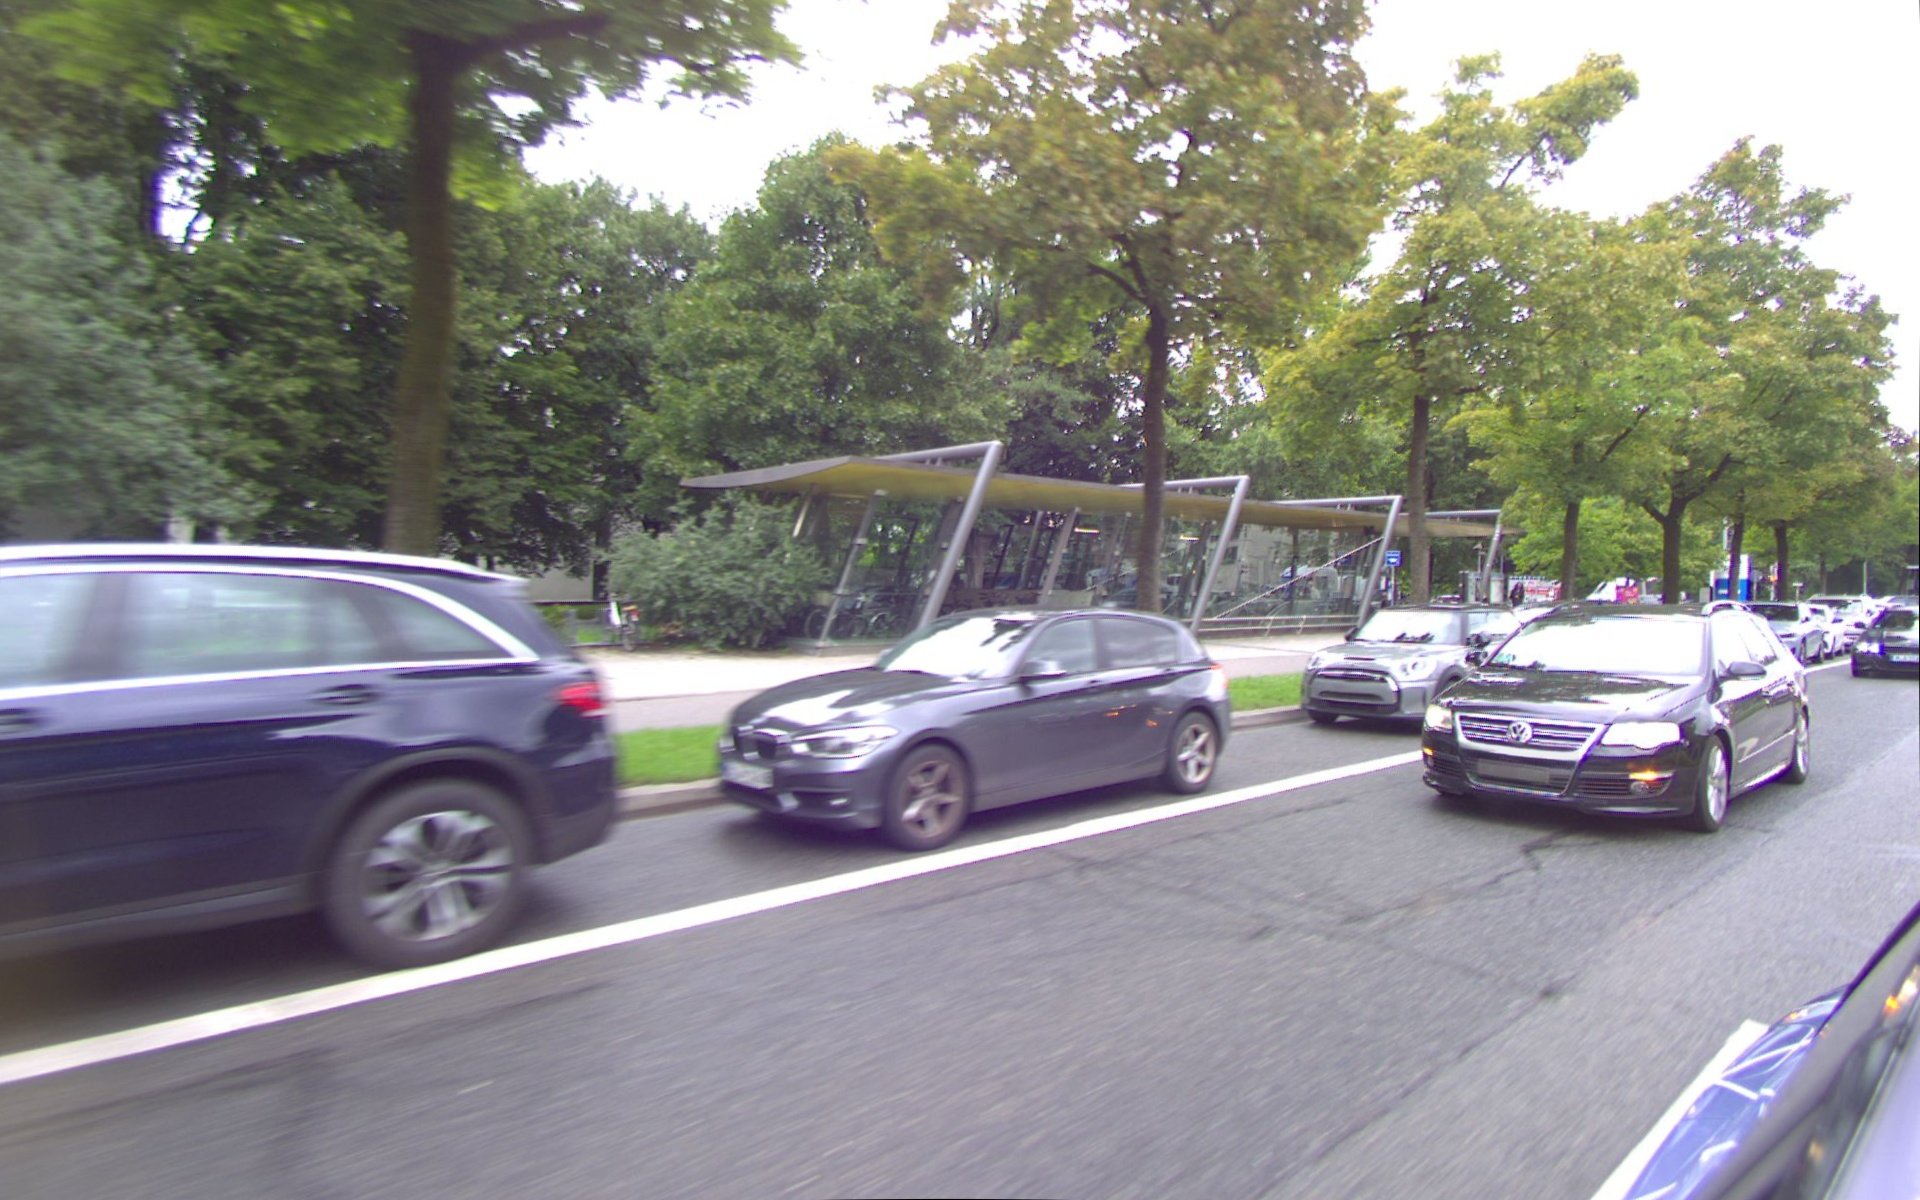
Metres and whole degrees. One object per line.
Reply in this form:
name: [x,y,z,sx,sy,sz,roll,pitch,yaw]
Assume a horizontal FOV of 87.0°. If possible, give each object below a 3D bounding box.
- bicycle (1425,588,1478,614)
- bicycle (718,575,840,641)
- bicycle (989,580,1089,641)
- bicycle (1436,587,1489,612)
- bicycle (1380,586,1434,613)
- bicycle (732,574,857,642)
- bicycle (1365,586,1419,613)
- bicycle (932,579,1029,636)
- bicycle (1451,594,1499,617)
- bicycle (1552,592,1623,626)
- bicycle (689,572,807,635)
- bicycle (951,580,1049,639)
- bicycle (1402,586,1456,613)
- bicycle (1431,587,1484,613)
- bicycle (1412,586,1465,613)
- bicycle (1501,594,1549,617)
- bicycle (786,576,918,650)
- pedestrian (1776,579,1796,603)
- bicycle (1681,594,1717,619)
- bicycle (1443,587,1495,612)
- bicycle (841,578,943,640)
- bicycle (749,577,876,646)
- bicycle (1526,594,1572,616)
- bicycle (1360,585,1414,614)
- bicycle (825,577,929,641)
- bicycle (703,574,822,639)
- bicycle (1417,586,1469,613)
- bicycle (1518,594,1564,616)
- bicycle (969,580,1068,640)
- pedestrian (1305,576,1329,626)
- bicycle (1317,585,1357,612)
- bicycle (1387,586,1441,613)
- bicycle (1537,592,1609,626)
bicycle: [24.855,0.045,51.245,0.520,1.171,2.344,1,3,-40]
bicycle: [-3.716,0.139,20.946,2.506,1.296,0.646,0,1,-41]
bicycle: [1.782,0.211,22.477,2.506,1.296,0.646,0,1,-41]
bicycle: [25.772,-0.038,51.951,0.520,1.171,2.344,1,3,-40]
bicycle: [21.487,-0.034,48.685,0.520,1.171,2.344,1,3,-40]
bicycle: [-3.304,0.150,20.419,2.506,1.296,0.646,0,1,-41]
bicycle: [20.583,-0.034,48.230,0.520,1.171,2.344,1,3,-40]
bicycle: [0.519,0.158,24.040,2.506,1.296,0.646,0,1,-41]
bicycle: [27.166,0.271,53.418,2.092,1.168,0.717,1,1,7]
bicycle: [25.128,0.349,40.558,2.338,1.171,0.521,5,3,42]
bicycle: [-4.559,0.065,21.900,2.506,1.296,0.605,0,1,-41]
bicycle: [0.962,0.201,23.524,2.506,1.296,0.646,0,1,-41]
bicycle: [23.012,-0.014,49.665,0.520,1.171,2.344,1,3,-40]
bicycle: [25.327,-0.024,51.577,0.520,1.171,2.344,1,3,-40]
bicycle: [23.781,-0.036,50.364,0.520,1.171,2.344,1,3,-40]
bicycle: [29.859,0.278,53.517,2.091,1.168,0.718,1,1,5]
bicycle: [-1.975,0.226,18.832,2.506,1.296,0.646,0,1,-41]
pedestrian: [53.758,-0.608,65.876,0.722,1.558,0.694,0,1,-21]
bicycle: [36.521,0.315,50.018,1.962,1.213,0.864,0,3,-37]
bicycle: [26.258,-0.038,52.278,0.520,1.171,2.344,1,3,-40]
bicycle: [-1.533,0.173,22.417,2.534,1.296,0.486,2,1,36]
bicycle: [-2.865,0.204,19.910,2.506,1.296,0.646,0,1,-41]
bicycle: [32.273,0.275,55.486,2.088,1.168,0.718,1,1,0]
bicycle: [20.145,-0.033,47.779,0.520,1.171,2.344,1,3,-40]
bicycle: [-1.837,0.167,21.988,2.534,1.296,0.486,2,1,36]
bicycle: [-4.145,0.116,21.431,2.506,1.296,0.605,0,1,-41]
bicycle: [24.270,-0.037,50.888,0.520,1.171,2.344,1,3,-40]
bicycle: [32.298,0.273,56.292,2.088,1.168,0.718,1,1,0]
bicycle: [1.354,0.207,22.994,2.506,1.296,0.646,0,1,-41]
pedestrian: [11.022,0.025,31.220,0.575,1.532,0.687,1,0,31]
bicycle: [17.172,-0.058,46.099,2.303,1.171,0.529,1,3,-38]
bicycle: [21.969,-0.034,49.017,0.520,1.171,2.344,1,3,-40]
bicycle: [24.297,0.349,40.153,0.520,1.171,2.344,1,3,-40]
